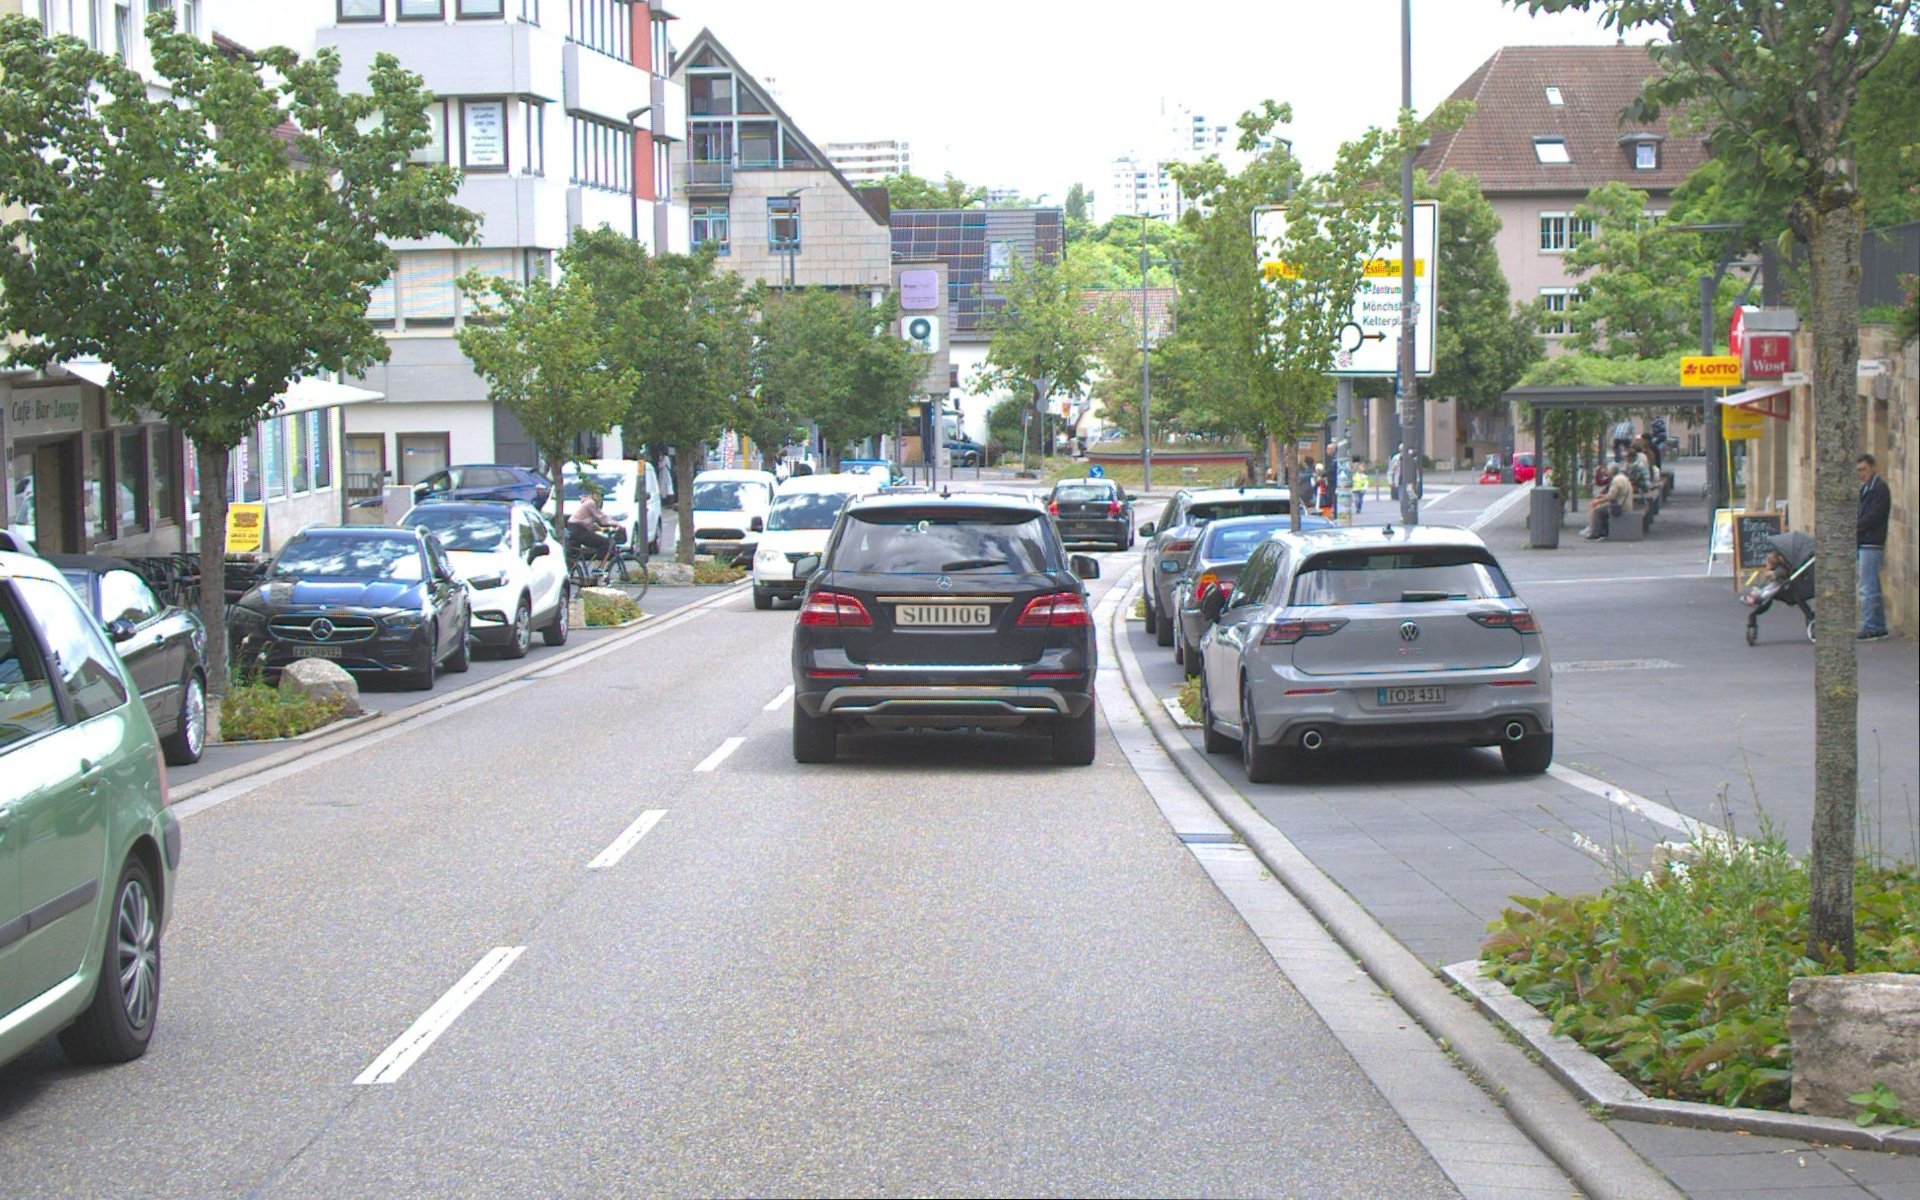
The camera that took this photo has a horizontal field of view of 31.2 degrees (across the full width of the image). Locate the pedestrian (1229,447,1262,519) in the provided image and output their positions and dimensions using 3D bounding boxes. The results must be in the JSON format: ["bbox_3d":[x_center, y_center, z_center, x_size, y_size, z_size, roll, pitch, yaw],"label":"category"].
[{"bbox_3d":[6.179,-2.531,74.526,0.513,1.543,0.486,0,3,32],"label":"pedestrian"}]

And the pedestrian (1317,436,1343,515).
[{"bbox_3d":[8.016,-2.698,74.486,0.511,1.674,0.576,-1,3,6],"label":"pedestrian"}]

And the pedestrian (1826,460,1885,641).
[{"bbox_3d":[8.217,-0.457,31.550,0.473,1.640,0.506,-1,1,12],"label":"pedestrian"}]

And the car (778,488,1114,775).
[{"bbox_3d":[-0.140,0.146,23.038,2.027,1.721,4.434,0,1,-1],"label":"car"}]

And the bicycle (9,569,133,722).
[{"bbox_3d":[-6.883,0.331,26.699,0.483,1.103,1.908,0,2,-1],"label":"bicycle"}]

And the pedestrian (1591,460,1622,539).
[{"bbox_3d":[11.219,-1.748,59.643,0.495,1.316,0.575,-1,5,9],"label":"pedestrian"}]

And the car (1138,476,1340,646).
[{"bbox_3d":[3.033,-0.485,38.189,1.928,1.718,4.574,-1,2,1],"label":"car"}]

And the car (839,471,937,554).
[{"bbox_3d":[-1.317,-1.650,64.110,1.607,1.383,3.629,-2,3,2],"label":"car"}]

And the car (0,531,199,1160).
[{"bbox_3d":[-3.150,0.608,8.275,1.681,1.495,4.154,-2,1,0],"label":"car"}]

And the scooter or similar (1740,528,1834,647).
[{"bbox_3d":[7.617,-0.118,31.688,0.812,1.068,0.560,-1,1,12],"label":"scooter or similar"}]

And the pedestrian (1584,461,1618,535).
[{"bbox_3d":[11.380,-1.813,61.072,0.568,1.257,0.541,-1,5,10],"label":"pedestrian"}]

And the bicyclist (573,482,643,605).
[{"bbox_3d":[-4.965,-0.804,48.549,0.775,1.689,0.510,-4,3,-33],"label":"bicyclist"}]

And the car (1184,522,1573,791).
[{"bbox_3d":[2.447,0.269,21.025,1.754,1.436,4.090,-2,1,-1],"label":"car"}]

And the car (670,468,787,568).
[{"bbox_3d":[-4.148,-1.506,62.062,1.656,1.666,4.351,1,3,2],"label":"car"}]

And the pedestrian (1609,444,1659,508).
[{"bbox_3d":[13.598,-2.503,69.318,0.770,1.264,0.675,2,4,34],"label":"pedestrian"}]

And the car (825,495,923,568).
[{"bbox_3d":[-2.115,-1.728,85.517,1.695,1.594,4.331,3,3,8],"label":"car"}]

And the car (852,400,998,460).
[{"bbox_3d":[-1.616,-7.738,156.898,6.283,2.551,2.207,1,0,-15],"label":"car"}]

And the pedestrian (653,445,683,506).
[{"bbox_3d":[-7.551,-3.223,88.965,0.585,1.561,0.645,-1,3,8],"label":"pedestrian"}]

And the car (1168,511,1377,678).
[{"bbox_3d":[2.804,-0.080,31.588,1.681,1.412,4.371,-1,1,2],"label":"car"}]

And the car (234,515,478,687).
[{"bbox_3d":[-5.614,-0.046,32.397,1.839,1.446,4.516,1,2,-5],"label":"car"}]

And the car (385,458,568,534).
[{"bbox_3d":[-10.162,-2.192,72.382,3.627,1.553,1.669,0,3,-1],"label":"car"}]

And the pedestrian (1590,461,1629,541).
[{"bbox_3d":[11.145,-1.701,58.997,0.616,1.316,0.586,-1,5,9],"label":"pedestrian"}]

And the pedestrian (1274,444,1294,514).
[{"bbox_3d":[7.271,-2.720,77.141,0.393,1.560,0.352,-1,3,7],"label":"pedestrian"}]

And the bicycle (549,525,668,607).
[{"bbox_3d":[-4.961,-0.488,48.580,1.649,1.083,0.413,-4,3,-34],"label":"bicycle"}]

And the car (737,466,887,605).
[{"bbox_3d":[-2.033,-0.928,48.328,1.746,1.796,4.212,-2,2,1],"label":"car"}]

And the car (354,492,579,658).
[{"bbox_3d":[-5.336,-0.323,37.629,1.666,1.640,4.134,1,2,3],"label":"car"}]

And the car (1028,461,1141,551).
[{"bbox_3d":[2.454,-1.917,68.931,2.052,1.582,4.374,2,3,0],"label":"car"}]

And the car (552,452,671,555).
[{"bbox_3d":[-6.560,-1.867,65.109,1.756,1.807,4.477,1,3,0],"label":"car"}]

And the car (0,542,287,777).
[{"bbox_3d":[-5.843,0.327,23.134,1.657,1.387,4.444,0,1,1],"label":"car"}]

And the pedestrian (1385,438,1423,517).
[{"bbox_3d":[9.608,-2.651,74.374,0.685,1.676,0.714,0,3,17],"label":"pedestrian"}]

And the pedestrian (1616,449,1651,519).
[{"bbox_3d":[12.805,-2.207,65.359,0.624,1.303,0.546,-1,3,10],"label":"pedestrian"}]

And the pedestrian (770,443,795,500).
[{"bbox_3d":[-4.939,-3.573,95.563,0.587,1.582,0.638,1,3,7],"label":"pedestrian"}]

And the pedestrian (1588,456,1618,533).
[{"bbox_3d":[11.269,-1.847,60.222,0.498,1.316,0.525,-1,5,10],"label":"pedestrian"}]
